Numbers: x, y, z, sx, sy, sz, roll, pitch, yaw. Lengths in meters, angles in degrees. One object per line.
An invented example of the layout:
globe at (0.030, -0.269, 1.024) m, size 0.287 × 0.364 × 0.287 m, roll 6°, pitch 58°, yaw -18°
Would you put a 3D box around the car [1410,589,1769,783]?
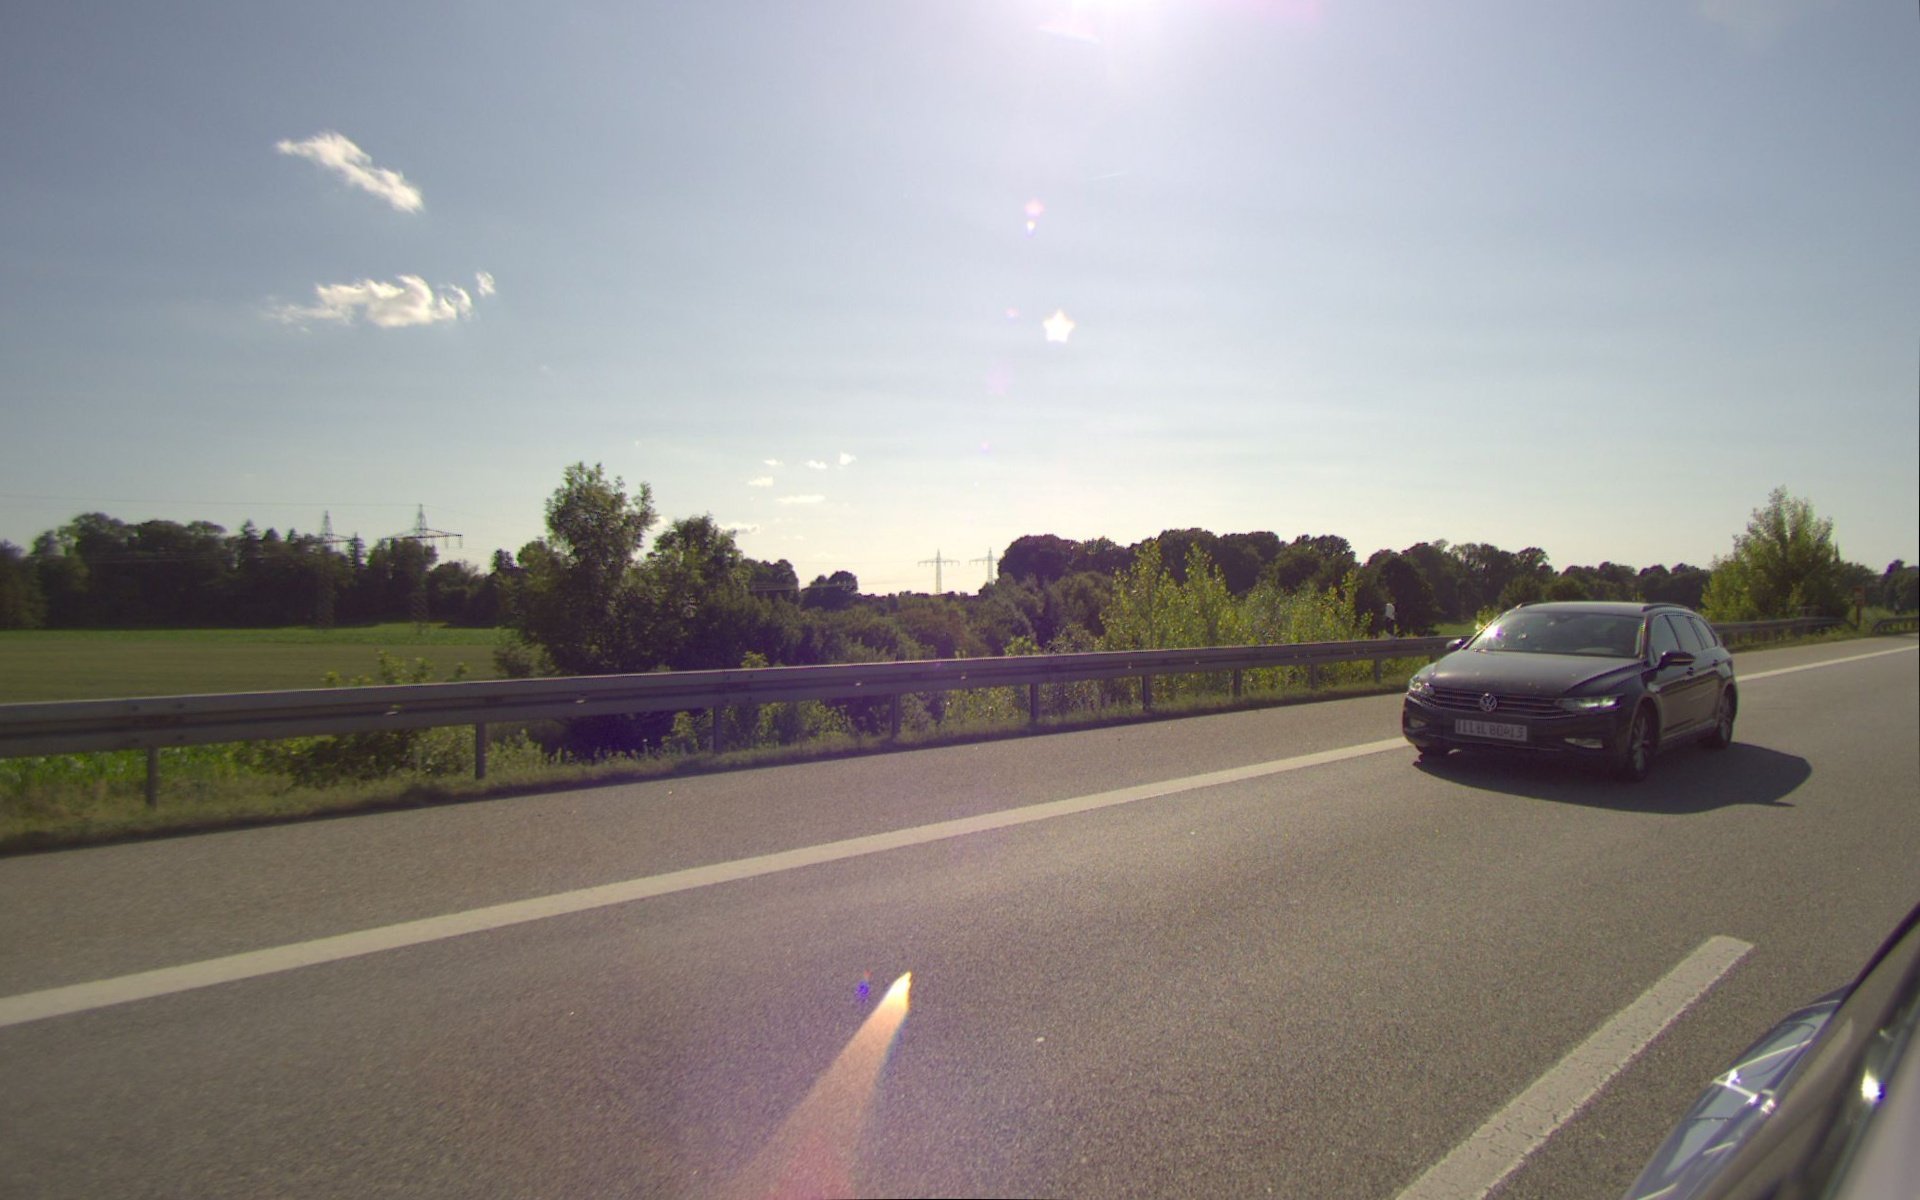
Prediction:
car at (6.157, 0.624, 9.680) m, size 4.336 × 1.417 × 1.722 m, roll -1°, pitch 1°, yaw -41°
